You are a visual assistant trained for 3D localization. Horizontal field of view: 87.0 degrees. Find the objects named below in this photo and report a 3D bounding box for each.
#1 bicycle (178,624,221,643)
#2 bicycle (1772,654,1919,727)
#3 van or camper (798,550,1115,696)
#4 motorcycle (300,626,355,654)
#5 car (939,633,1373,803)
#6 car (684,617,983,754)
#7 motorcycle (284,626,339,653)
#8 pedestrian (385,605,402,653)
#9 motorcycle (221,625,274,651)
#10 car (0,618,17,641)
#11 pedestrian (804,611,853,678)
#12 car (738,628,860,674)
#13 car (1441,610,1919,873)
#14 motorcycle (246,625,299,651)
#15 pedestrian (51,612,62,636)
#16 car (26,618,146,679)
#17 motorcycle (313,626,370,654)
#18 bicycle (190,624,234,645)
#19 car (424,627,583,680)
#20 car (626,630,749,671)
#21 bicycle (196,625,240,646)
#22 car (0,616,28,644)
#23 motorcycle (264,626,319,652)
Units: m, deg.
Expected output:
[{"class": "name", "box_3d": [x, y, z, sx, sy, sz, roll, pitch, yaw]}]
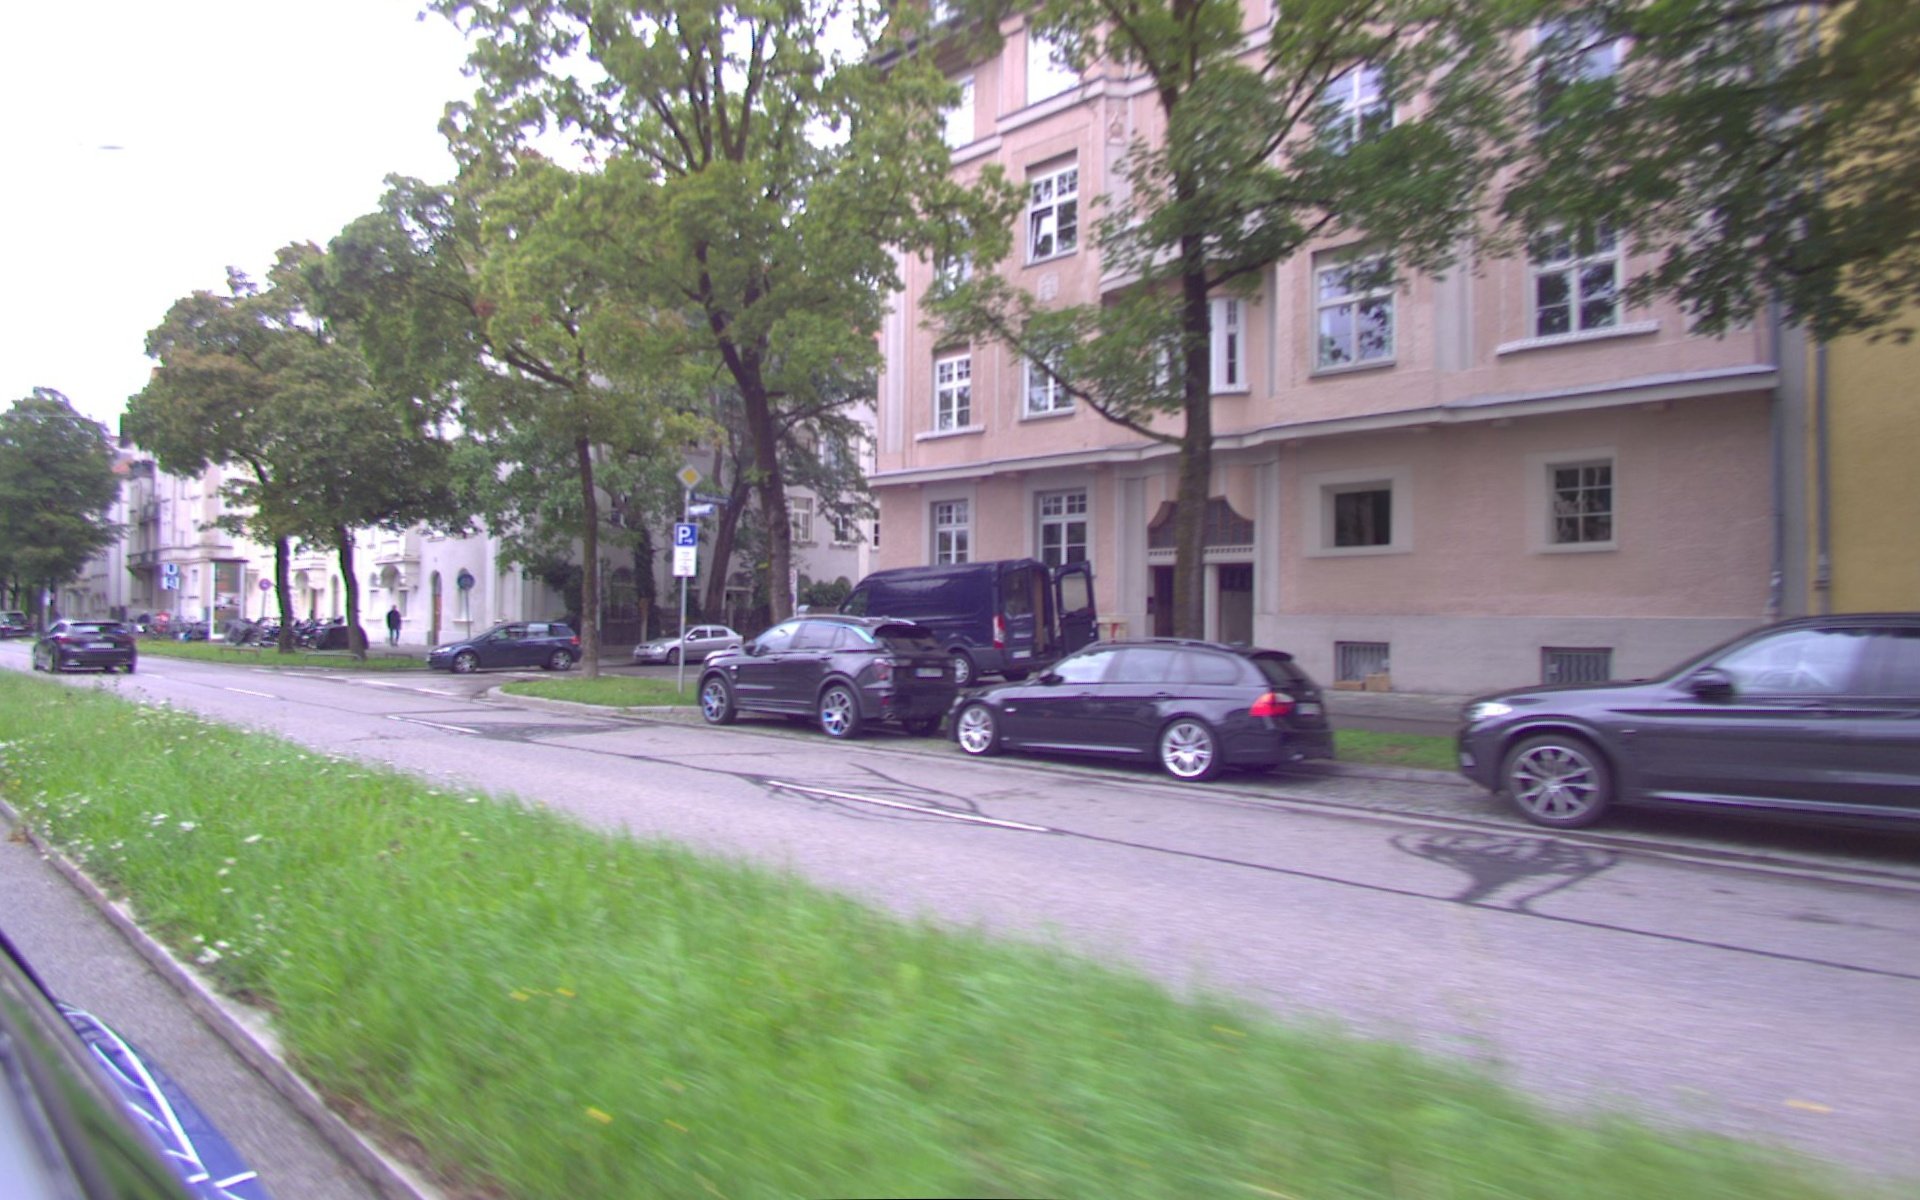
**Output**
[{"class": "bicycle", "box_3d": [-45.287, 1.986, 60.277, 1.924, 1.158, 0.598, 1, -1, -29]}, {"class": "bicycle", "box_3d": [12.194, 1.201, 13.630, 1.929, 0.906, 0.479, -1, -2, 41]}, {"class": "van or camper", "box_3d": [-0.297, 0.473, 21.214, 6.847, 2.599, 2.321, -1, -1, 41]}, {"class": "motorcycle", "box_3d": [-27.111, 1.712, 43.408, 1.926, 1.158, 0.597, 0, -1, -11]}, {"class": "car", "box_3d": [1.984, 1.124, 11.183, 4.490, 1.465, 1.674, -1, -2, 41]}, {"class": "car", "box_3d": [-1.947, 1.099, 14.720, 4.436, 1.699, 1.854, -1, -2, 41]}, {"class": "motorcycle", "box_3d": [-28.462, 1.722, 44.436, 1.926, 1.158, 0.597, 0, -1, -11]}, {"class": "pedestrian", "box_3d": [-24.696, 1.261, 44.130, 0.590, 2.075, 0.686, 1, -2, -30]}, {"class": "motorcycle", "box_3d": [-33.011, 1.748, 46.910, 1.924, 1.158, 0.598, 1, -1, -29]}, {"class": "car", "box_3d": [-77.194, 2.358, 81.211, 3.998, 1.852, 1.848, -1, -2, 41]}, {"class": "pedestrian", "box_3d": [-3.438, 1.153, 26.496, 1.082, 1.723, 0.740, -1, -2, 41]}, {"class": "car", "box_3d": [-5.295, 1.644, 33.593, 1.910, 1.382, 3.660, -1, -2, 39]}, {"class": "car", "box_3d": [6.319, 0.909, 7.379, 4.768, 1.658, 1.859, -1, -2, 41]}, {"class": "motorcycle", "box_3d": [-31.259, 1.737, 46.047, 1.926, 1.158, 0.597, 0, -1, -11]}, {"class": "pedestrian", "box_3d": [-77.208, 2.064, 86.466, 0.631, 2.058, 0.739, 1, -2, -38]}, {"class": "car", "box_3d": [-23.518, 1.285, 27.177, 4.321, 1.518, 1.792, -1, -4, 41]}, {"class": "motorcycle", "box_3d": [-25.921, 1.675, 42.424, 1.926, 1.158, 0.597, 0, -1, -11]}, {"class": "bicycle", "box_3d": [-42.863, 1.968, 58.003, 1.924, 1.158, 0.598, 1, -1, -29]}, {"class": "car", "box_3d": [-13.243, 1.513, 29.420, 3.934, 1.386, 1.866, 1, -2, -36]}, {"class": "car", "box_3d": [-9.635, 1.765, 35.982, 1.793, 1.332, 3.947, -1, -2, 39]}, {"class": "bicycle", "box_3d": [-41.394, 1.967, 56.470, 1.924, 1.158, 0.598, 1, -1, -29]}, {"class": "car", "box_3d": [-70.470, 2.228, 74.858, 3.998, 2.029, 1.767, -1, -2, 41]}, {"class": "motorcycle", "box_3d": [-29.824, 1.732, 45.169, 1.926, 1.158, 0.597, 0, -1, -11]}]
